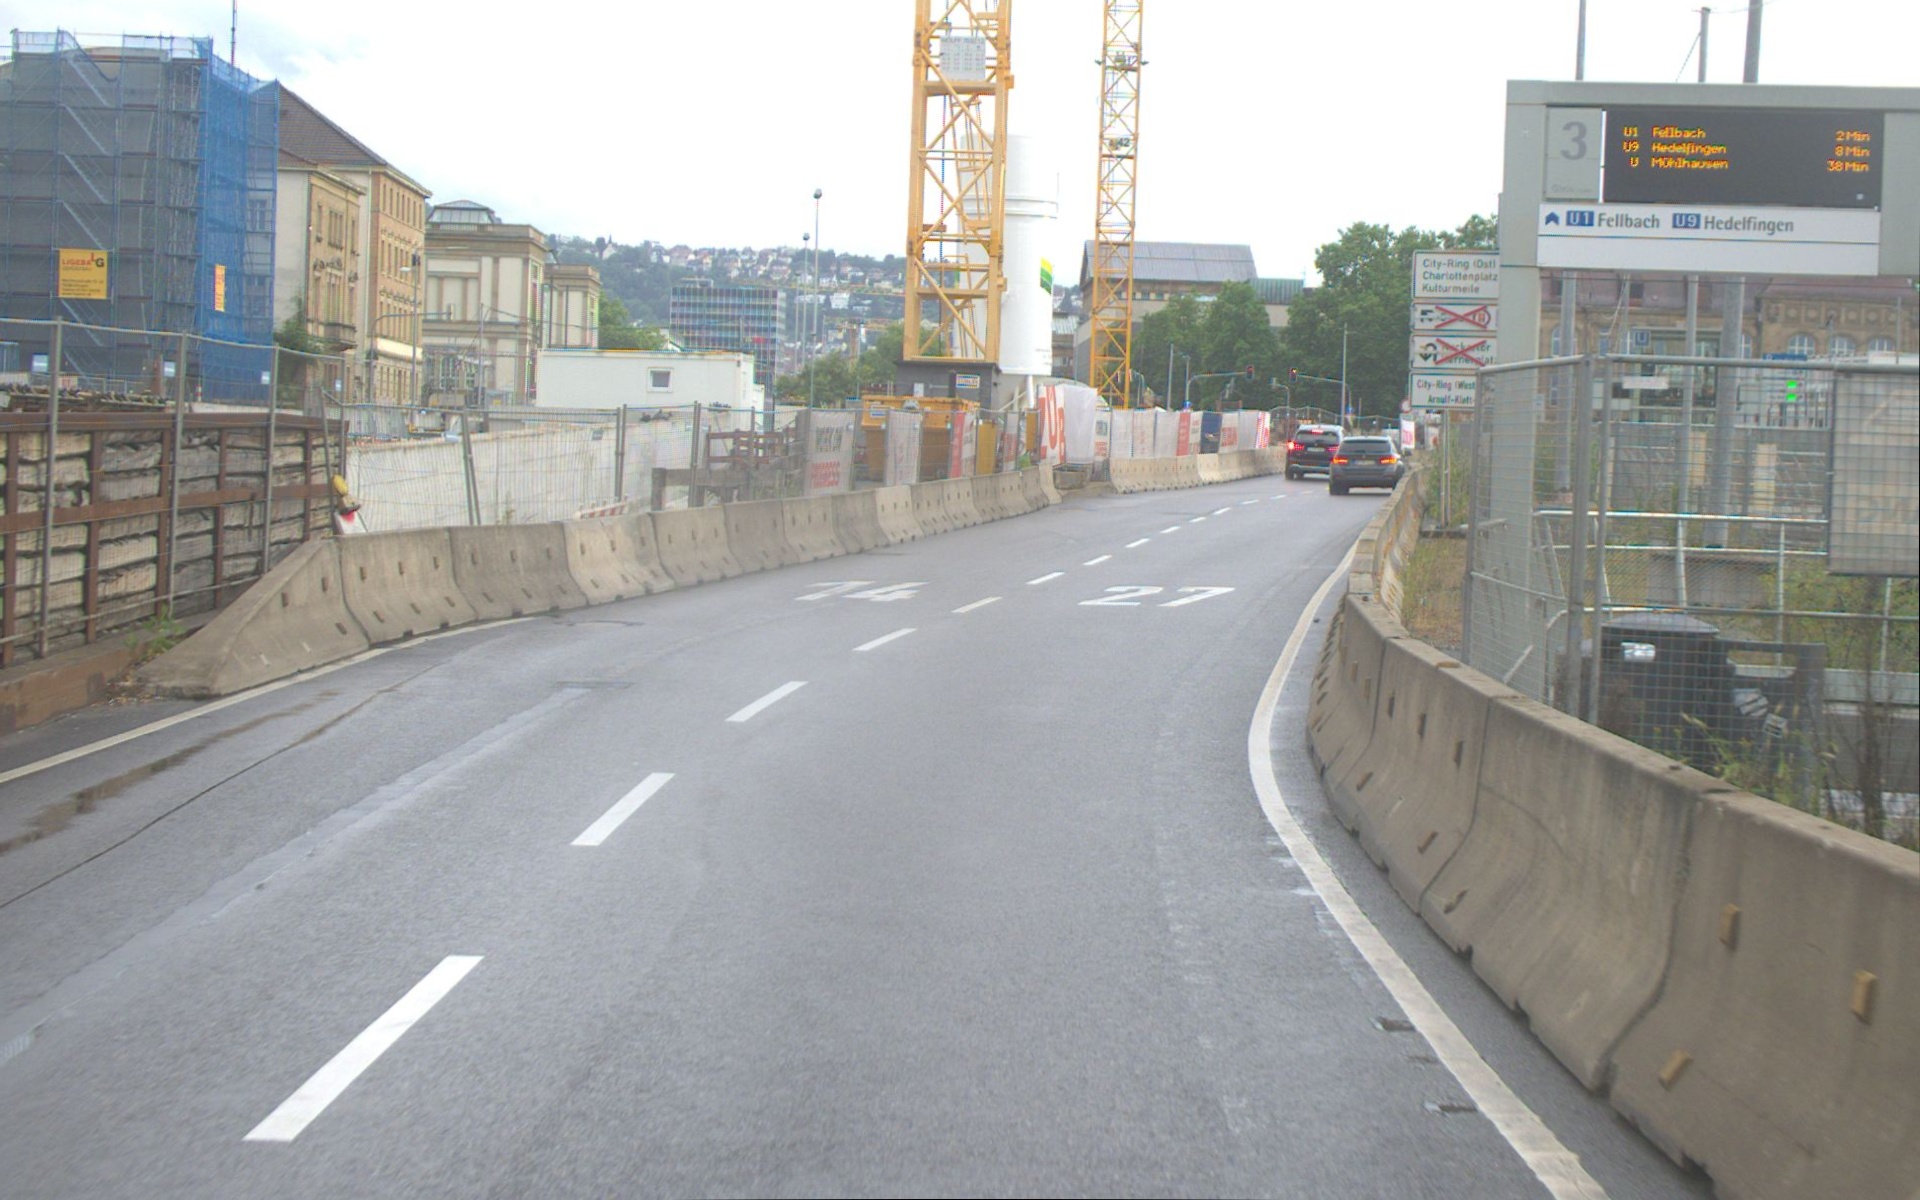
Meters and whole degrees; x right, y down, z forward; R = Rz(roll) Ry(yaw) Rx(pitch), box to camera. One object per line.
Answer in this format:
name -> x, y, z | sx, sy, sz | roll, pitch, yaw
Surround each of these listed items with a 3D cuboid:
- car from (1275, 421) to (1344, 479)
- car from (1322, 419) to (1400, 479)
car -> 10.643, -4.565, 104.428 | 1.863, 1.655, 4.655 | 3, 3, 8
car -> 9.983, -3.734, 85.389 | 1.863, 1.428, 4.655 | 0, 2, 7
